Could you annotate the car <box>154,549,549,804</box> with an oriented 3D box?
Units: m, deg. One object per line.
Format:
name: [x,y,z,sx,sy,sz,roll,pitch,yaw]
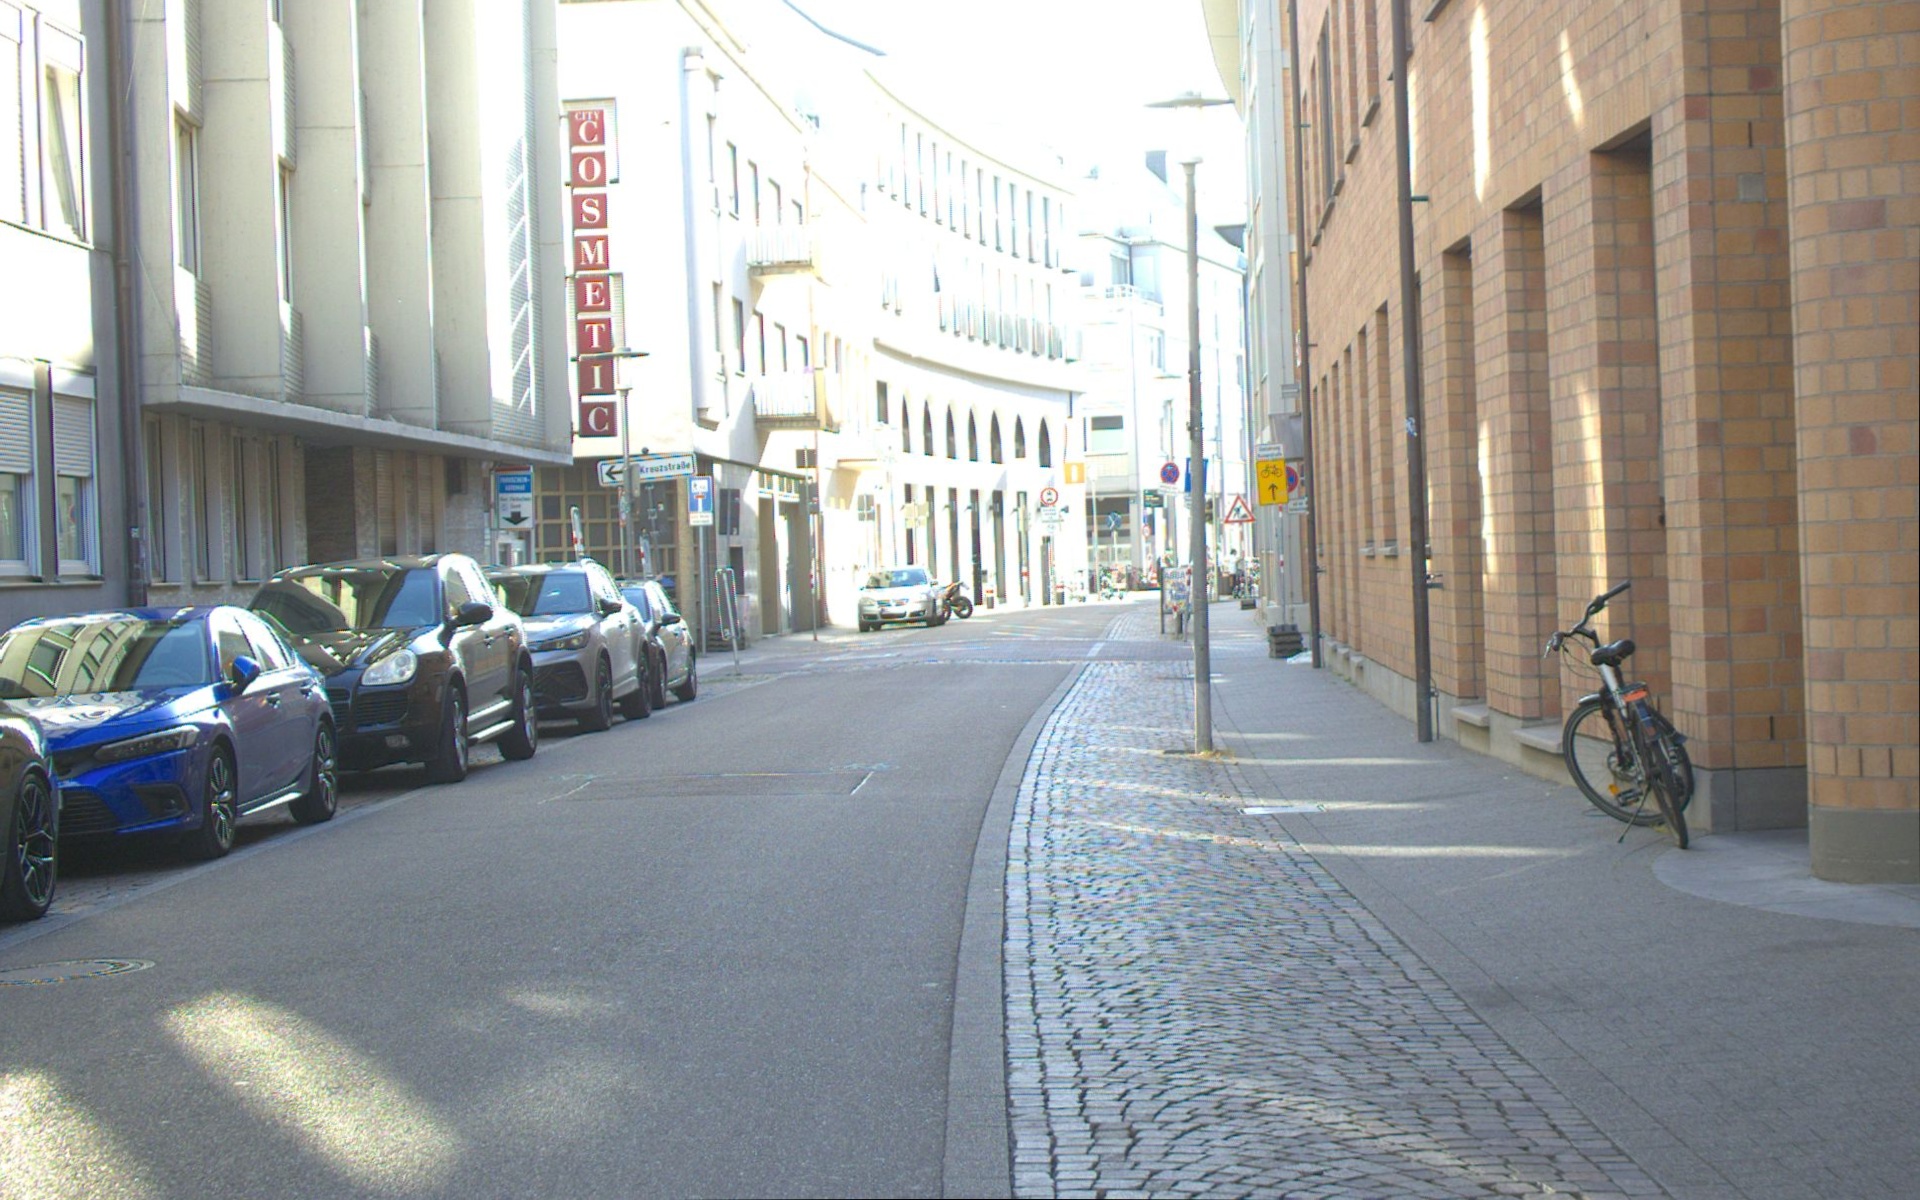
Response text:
car: [-4.502,0.504,26.156,1.890,1.670,4.553,-2,1,3]

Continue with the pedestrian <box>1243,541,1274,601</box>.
pedestrian: [9.240,-0.886,106.524,0.659,1.862,0.761,0,0,-27]

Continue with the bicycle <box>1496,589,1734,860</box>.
bicycle: [2.992,0.536,15.883,0.549,1.099,1.982,-5,1,-2]

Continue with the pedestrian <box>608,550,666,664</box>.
pedestrian: [-4.644,0.096,49.441,0.645,1.620,0.457,-2,1,-38]

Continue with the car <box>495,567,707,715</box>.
car: [-4.007,0.420,38.964,1.648,1.455,3.999,-4,1,3]

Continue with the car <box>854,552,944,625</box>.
car: [-1.388,-0.293,79.124,1.737,1.600,3.532,-1,1,4]

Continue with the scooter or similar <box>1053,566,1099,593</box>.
scooter or similar: [4.120,-0.733,121.696,0.526,0.925,2.223,0,1,34]

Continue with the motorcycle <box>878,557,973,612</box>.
motorcycle: [-0.906,-0.421,90.425,2.391,1.312,0.862,-3,1,4]

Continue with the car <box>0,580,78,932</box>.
car: [-5.164,0.749,13.971,1.890,1.525,4.729,-2,1,0]

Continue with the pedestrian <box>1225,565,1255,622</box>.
pedestrian: [9.114,-0.210,111.737,0.659,1.862,0.786,0,0,-27]

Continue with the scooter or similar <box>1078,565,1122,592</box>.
scooter or similar: [5.106,-0.795,125.254,0.526,0.925,2.223,0,1,34]

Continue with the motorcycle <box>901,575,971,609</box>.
motorcycle: [-0.615,-0.196,86.575,1.691,0.856,0.594,0,0,9]

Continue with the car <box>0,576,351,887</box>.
car: [-4.912,0.689,20.080,1.890,1.525,4.340,-2,1,0]

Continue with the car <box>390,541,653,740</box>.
car: [-4.205,0.333,33.621,1.890,1.736,4.391,-2,1,1]
